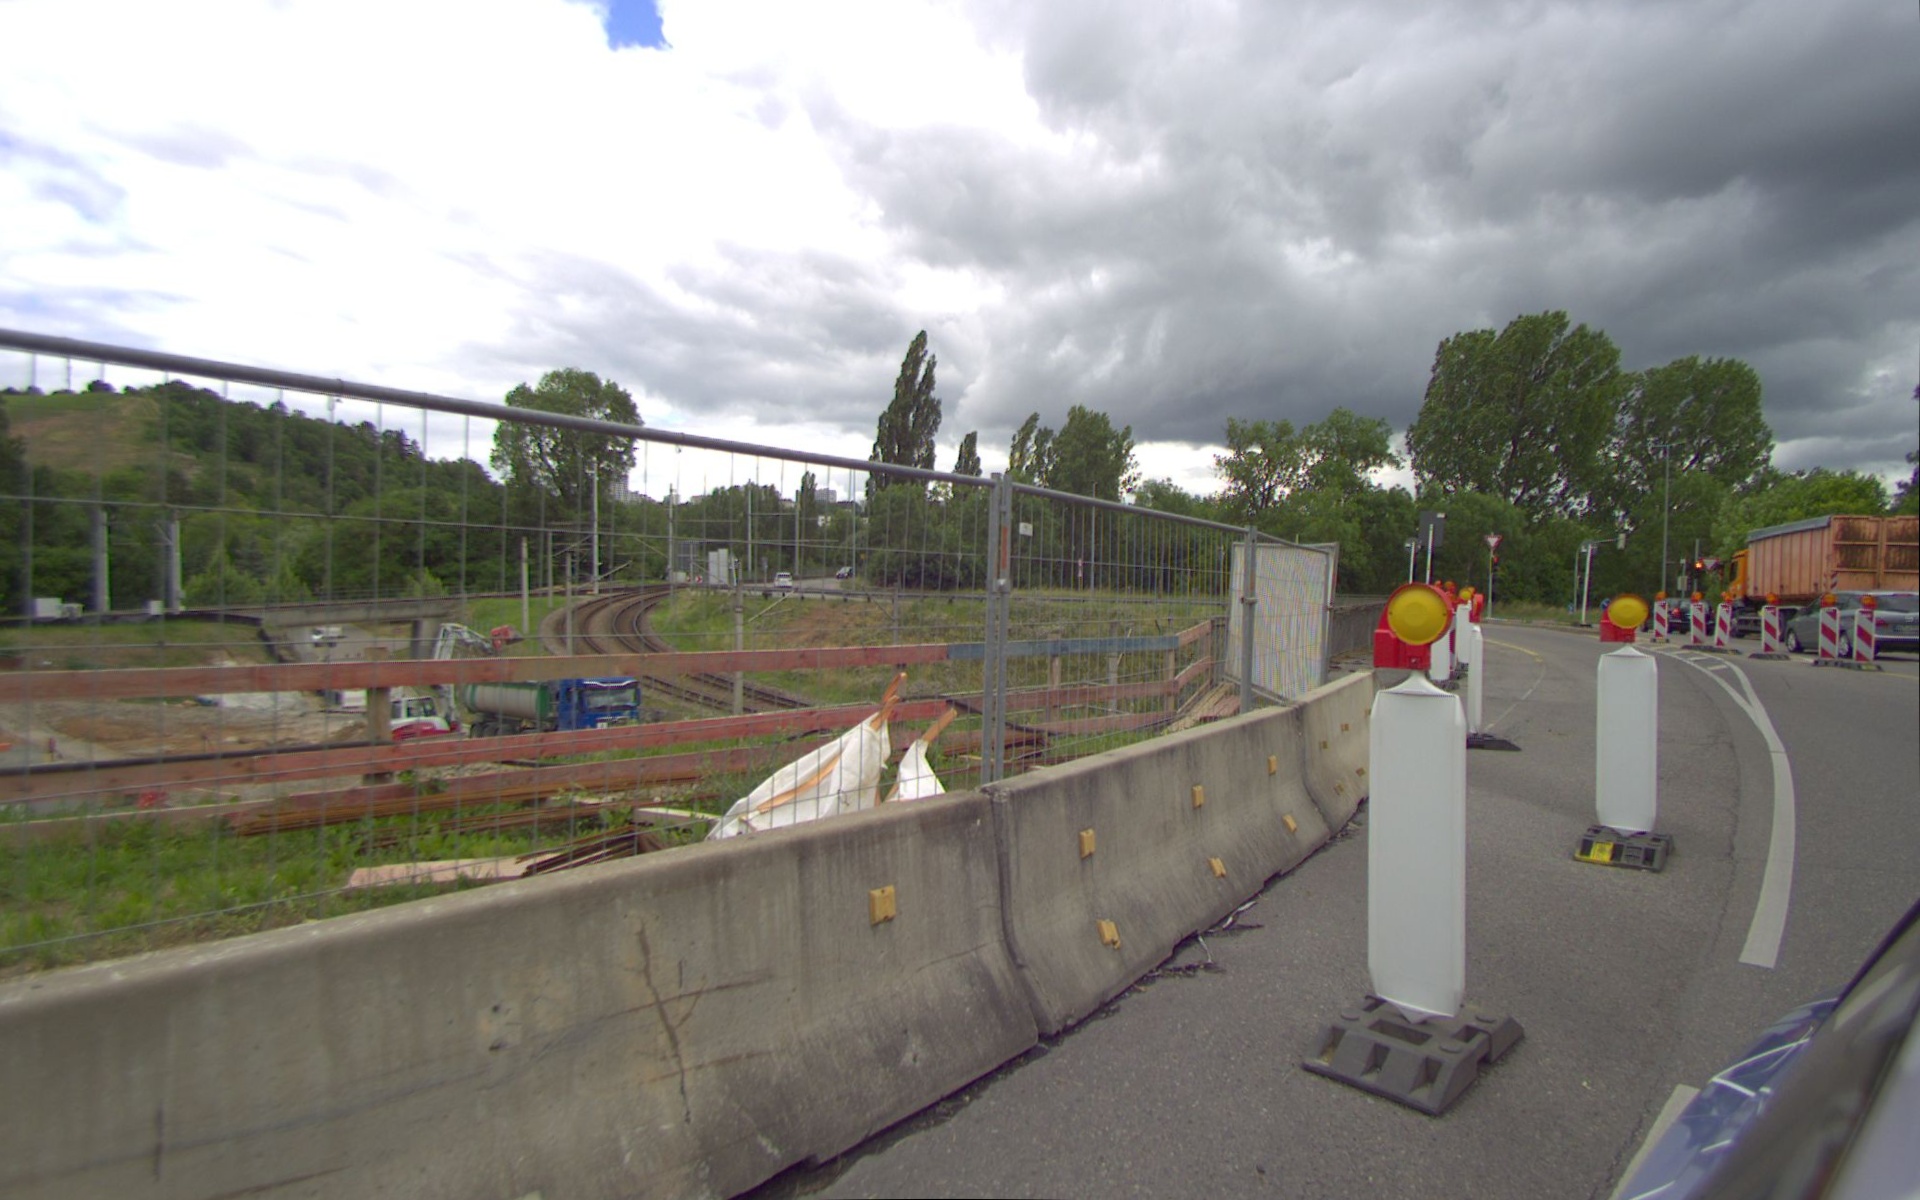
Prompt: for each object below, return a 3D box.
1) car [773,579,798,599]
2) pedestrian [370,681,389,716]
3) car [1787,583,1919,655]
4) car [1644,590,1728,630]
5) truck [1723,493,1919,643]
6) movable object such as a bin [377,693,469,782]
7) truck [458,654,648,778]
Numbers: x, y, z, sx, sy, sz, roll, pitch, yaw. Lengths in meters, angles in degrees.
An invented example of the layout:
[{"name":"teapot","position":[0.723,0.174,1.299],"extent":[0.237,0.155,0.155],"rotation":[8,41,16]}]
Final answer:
[{"name":"car","position":[-17.289,-1.068,100.552],"extent":[2.042,1.783,4.324],"rotation":[2,-2,-4]},{"name":"pedestrian","position":[-35.000,5.958,61.061],"extent":[0.679,2.040,0.813],"rotation":[-2,-3,41]},{"name":"car","position":[21.632,0.371,24.028],"extent":[1.616,1.564,4.325],"rotation":[0,1,18]},{"name":"car","position":[31.733,0.410,44.352],"extent":[1.620,1.571,3.771],"rotation":[4,1,15]},{"name":"truck","position":[28.835,-0.980,33.545],"extent":[3.084,4.273,9.722],"rotation":[1,1,22]},{"name":"movable object such as a bin","position":[-21.033,5.258,39.551],"extent":[2.986,2.784,4.291],"rotation":[0,-1,-30]},{"name":"truck","position":[-17.447,4.592,42.712],"extent":[11.577,3.942,2.803],"rotation":[0,1,43]}]
